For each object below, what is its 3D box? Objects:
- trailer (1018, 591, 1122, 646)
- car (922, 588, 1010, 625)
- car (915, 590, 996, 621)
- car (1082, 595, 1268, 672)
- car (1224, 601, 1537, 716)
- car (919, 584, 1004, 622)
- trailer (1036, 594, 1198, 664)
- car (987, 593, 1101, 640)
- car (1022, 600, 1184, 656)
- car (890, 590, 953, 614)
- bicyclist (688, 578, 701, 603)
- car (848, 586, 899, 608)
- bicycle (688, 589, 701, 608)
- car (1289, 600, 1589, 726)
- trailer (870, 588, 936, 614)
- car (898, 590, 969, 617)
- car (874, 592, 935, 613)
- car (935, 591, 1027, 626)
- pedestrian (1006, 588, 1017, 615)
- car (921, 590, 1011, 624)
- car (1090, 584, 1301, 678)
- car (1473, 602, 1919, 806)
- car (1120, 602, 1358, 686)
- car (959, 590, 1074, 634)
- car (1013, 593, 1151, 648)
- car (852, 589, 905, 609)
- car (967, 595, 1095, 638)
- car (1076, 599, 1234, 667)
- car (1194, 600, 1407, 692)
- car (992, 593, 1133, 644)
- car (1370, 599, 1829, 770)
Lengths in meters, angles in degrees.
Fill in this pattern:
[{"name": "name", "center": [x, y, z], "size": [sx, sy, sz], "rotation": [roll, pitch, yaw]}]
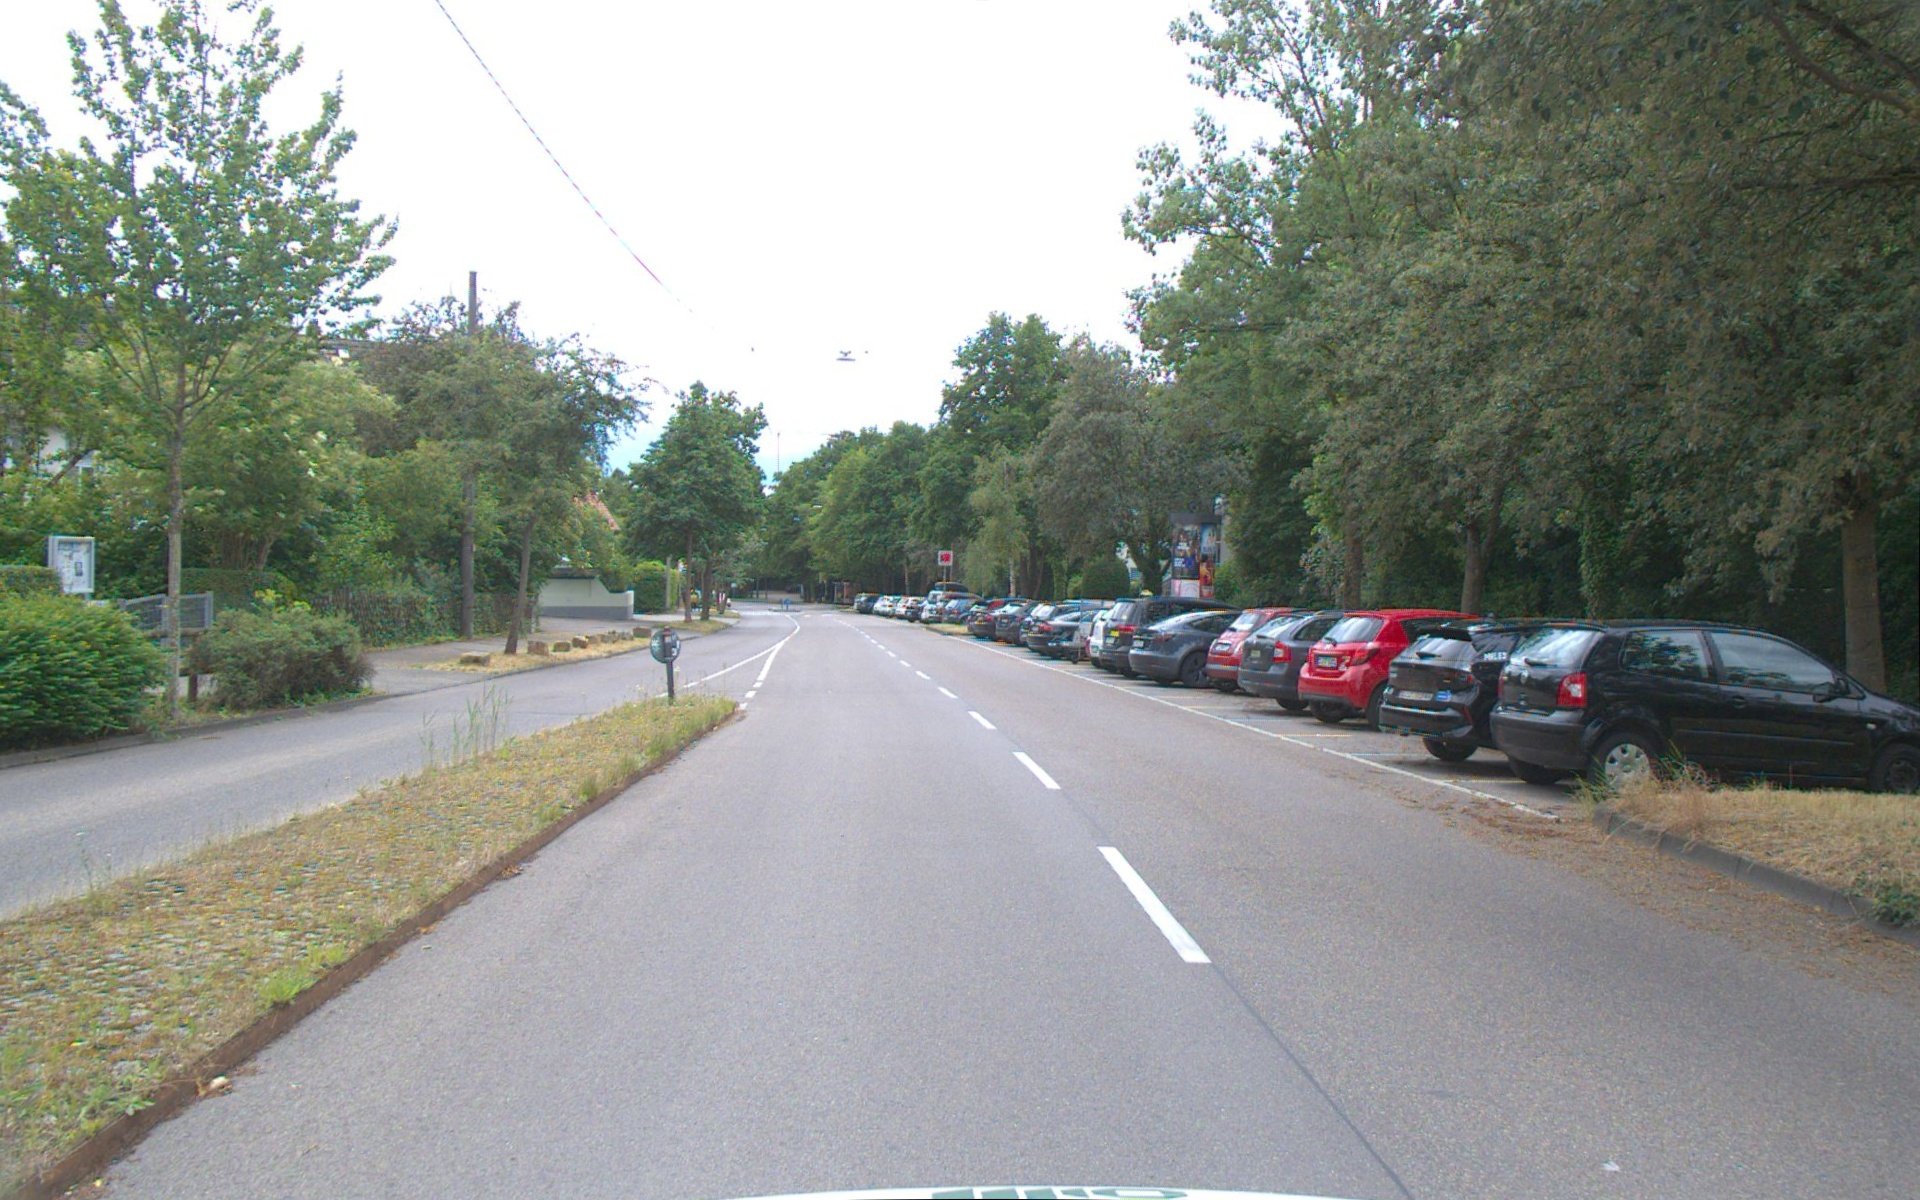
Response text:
[{"name": "trailer", "center": [3.417, 0.568, 51.660], "size": [2.940, 1.569, 1.297], "rotation": [2, 1, -18]}, {"name": "car", "center": [0.291, 0.305, 82.546], "size": [3.940, 1.648, 1.873], "rotation": [2, 0, -22]}, {"name": "car", "center": [-0.250, 0.309, 88.710], "size": [3.909, 1.474, 1.907], "rotation": [2, 0, -21]}, {"name": "car", "center": [4.735, 0.724, 36.587], "size": [3.750, 1.556, 1.602], "rotation": [2, 0, -9]}, {"name": "car", "center": [6.123, 0.847, 24.173], "size": [4.148, 1.489, 1.629], "rotation": [2, 0, -14]}, {"name": "car", "center": [0.084, 0.158, 85.426], "size": [4.046, 1.785, 1.768], "rotation": [2, 0, -32]}, {"name": "trailer", "center": [3.896, 0.712, 41.227], "size": [3.629, 1.561, 1.639], "rotation": [2, 0, -17]}, {"name": "car", "center": [2.879, 0.554, 56.748], "size": [3.558, 1.470, 1.624], "rotation": [2, 0, -21]}, {"name": "car", "center": [3.785, 0.744, 43.828], "size": [3.969, 1.350, 1.553], "rotation": [2, -1, -14]}, {"name": "car", "center": [-2.574, 0.146, 109.995], "size": [3.838, 1.474, 1.729], "rotation": [2, 0, -27]}, {"name": "bicyclist", "center": [-19.190, -0.689, 119.740], "size": [0.828, 1.727, 0.713], "rotation": [2, 1, -6]}, {"name": "car", "center": [-7.091, -0.259, 135.658], "size": [3.835, 1.697, 1.730], "rotation": [2, 0, -25]}, {"name": "bicycle", "center": [-19.207, -0.147, 119.705], "size": [0.829, 1.288, 2.647], "rotation": [2, 1, -8]}, {"name": "car", "center": [6.259, 0.816, 21.697], "size": [3.468, 1.502, 1.585], "rotation": [2, 0, -18]}, {"name": "trailer", "center": [-3.844, 0.046, 112.053], "size": [4.101, 1.600, 1.699], "rotation": [2, 0, -25]}, {"name": "car", "center": [-1.559, 0.214, 98.913], "size": [3.842, 1.474, 1.827], "rotation": [2, 0, -29]}, {"name": "car", "center": [-3.835, 0.151, 114.752], "size": [3.843, 1.332, 1.727], "rotation": [2, 0, -30]}, {"name": "car", "center": [0.982, 0.388, 77.158], "size": [3.906, 1.430, 1.746], "rotation": [3, 0, -20]}, {"name": "pedestrian", "center": [3.231, 0.112, 104.357], "size": [0.636, 1.700, 0.744], "rotation": [1, 0, 0]}, {"name": "car", "center": [0.301, 0.345, 79.624], "size": [3.973, 1.430, 1.744], "rotation": [2, 0, -23]}, {"name": "car", "center": [4.793, 0.624, 33.788], "size": [3.919, 1.755, 1.674], "rotation": [2, 0, -15]}, {"name": "car", "center": [6.427, 0.853, 13.978], "size": [3.646, 1.502, 1.574], "rotation": [2, 1, -8]}, {"name": "car", "center": [5.242, 0.829, 31.180], "size": [4.092, 1.431, 1.691], "rotation": [2, 0, -16]}, {"name": "car", "center": [2.124, 0.438, 62.109], "size": [4.024, 1.542, 1.718], "rotation": [1, 0, -28]}, {"name": "car", "center": [3.624, 0.606, 49.252], "size": [3.779, 1.480, 1.626], "rotation": [2, 0, -17]}, {"name": "car", "center": [-6.549, -0.085, 132.914], "size": [3.835, 1.454, 1.730], "rotation": [2, 0, -25]}, {"name": "car", "center": [2.543, 0.583, 59.294], "size": [4.247, 1.364, 1.724], "rotation": [2, 0, -19]}, {"name": "car", "center": [4.591, 0.772, 39.034], "size": [3.370, 1.470, 1.552], "rotation": [2, 0, -17]}, {"name": "car", "center": [5.983, 0.799, 29.160], "size": [3.271, 1.489, 1.628], "rotation": [2, 0, -15]}, {"name": "car", "center": [3.330, 0.605, 53.737], "size": [4.279, 1.470, 1.625], "rotation": [2, 1, -20]}, {"name": "car", "center": [6.261, 0.817, 16.256], "size": [4.068, 1.502, 1.570], "rotation": [2, 0, -16]}]
